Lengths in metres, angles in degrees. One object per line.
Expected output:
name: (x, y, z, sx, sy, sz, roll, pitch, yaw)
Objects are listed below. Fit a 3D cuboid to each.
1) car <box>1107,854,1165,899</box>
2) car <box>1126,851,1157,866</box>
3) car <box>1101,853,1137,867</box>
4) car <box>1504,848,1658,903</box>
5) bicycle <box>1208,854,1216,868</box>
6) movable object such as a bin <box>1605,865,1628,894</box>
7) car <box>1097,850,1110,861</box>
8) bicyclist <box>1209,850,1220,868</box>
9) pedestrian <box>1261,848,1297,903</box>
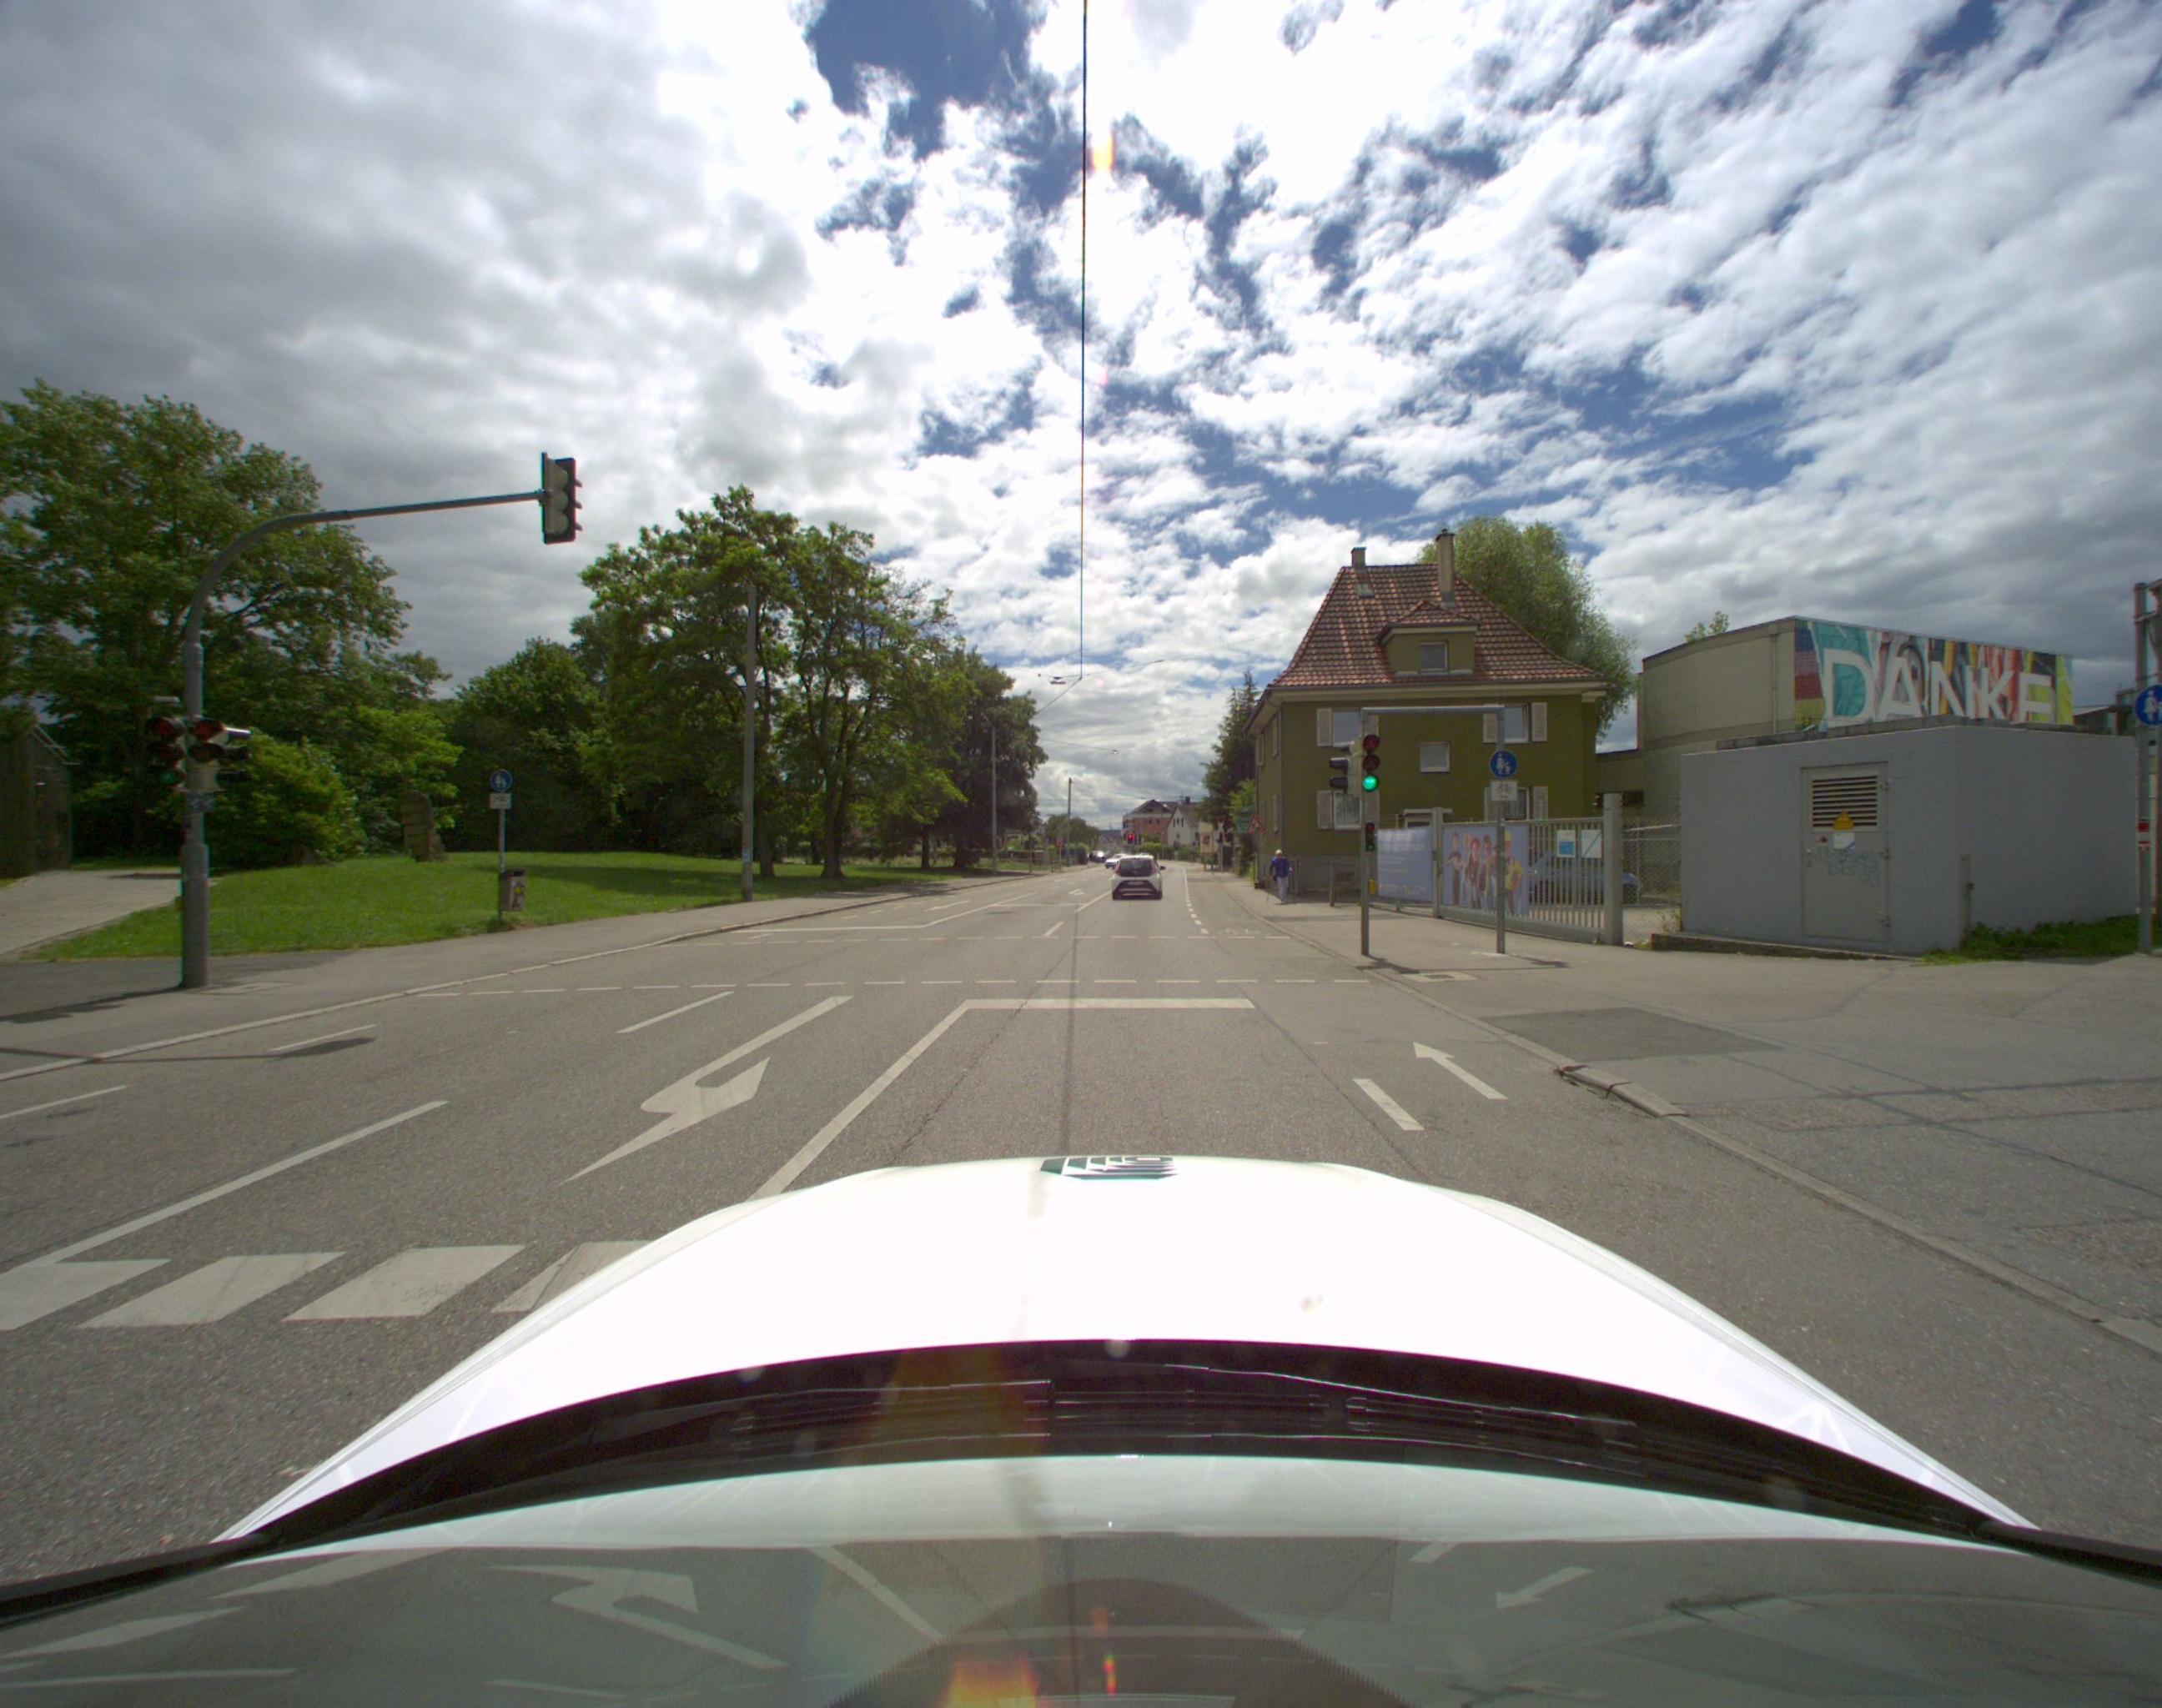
car: (1.974, 0.720, 28.196, 1.711, 1.442, 3.717, 0, 0, 8)
car: (6.919, 0.554, 93.834, 3.342, 1.655, 1.726, 0, 0, -4)
car: (4.014, 0.658, 85.435, 1.886, 1.441, 4.125, 0, 0, 35)
car: (14.600, 0.596, 23.922, 3.492, 1.494, 1.659, 0, 2, 1)
bicycle: (12.250, 0.667, 76.227, 0.456, 1.172, 1.480, -3, 2, 1)
movable object such as a bin: (17.392, 0.824, 26.438, 0.478, 0.919, 0.453, 0, 0, 8)
car: (3.767, 0.253, 136.884, 1.986, 1.719, 4.001, 0, 0, 1)
bicyclist: (12.445, 0.458, 76.170, 0.838, 1.553, 0.756, -3, 2, 1)
pedestrian: (5.813, 0.619, 23.970, 0.820, 1.572, 0.988, -2, 0, 2)
